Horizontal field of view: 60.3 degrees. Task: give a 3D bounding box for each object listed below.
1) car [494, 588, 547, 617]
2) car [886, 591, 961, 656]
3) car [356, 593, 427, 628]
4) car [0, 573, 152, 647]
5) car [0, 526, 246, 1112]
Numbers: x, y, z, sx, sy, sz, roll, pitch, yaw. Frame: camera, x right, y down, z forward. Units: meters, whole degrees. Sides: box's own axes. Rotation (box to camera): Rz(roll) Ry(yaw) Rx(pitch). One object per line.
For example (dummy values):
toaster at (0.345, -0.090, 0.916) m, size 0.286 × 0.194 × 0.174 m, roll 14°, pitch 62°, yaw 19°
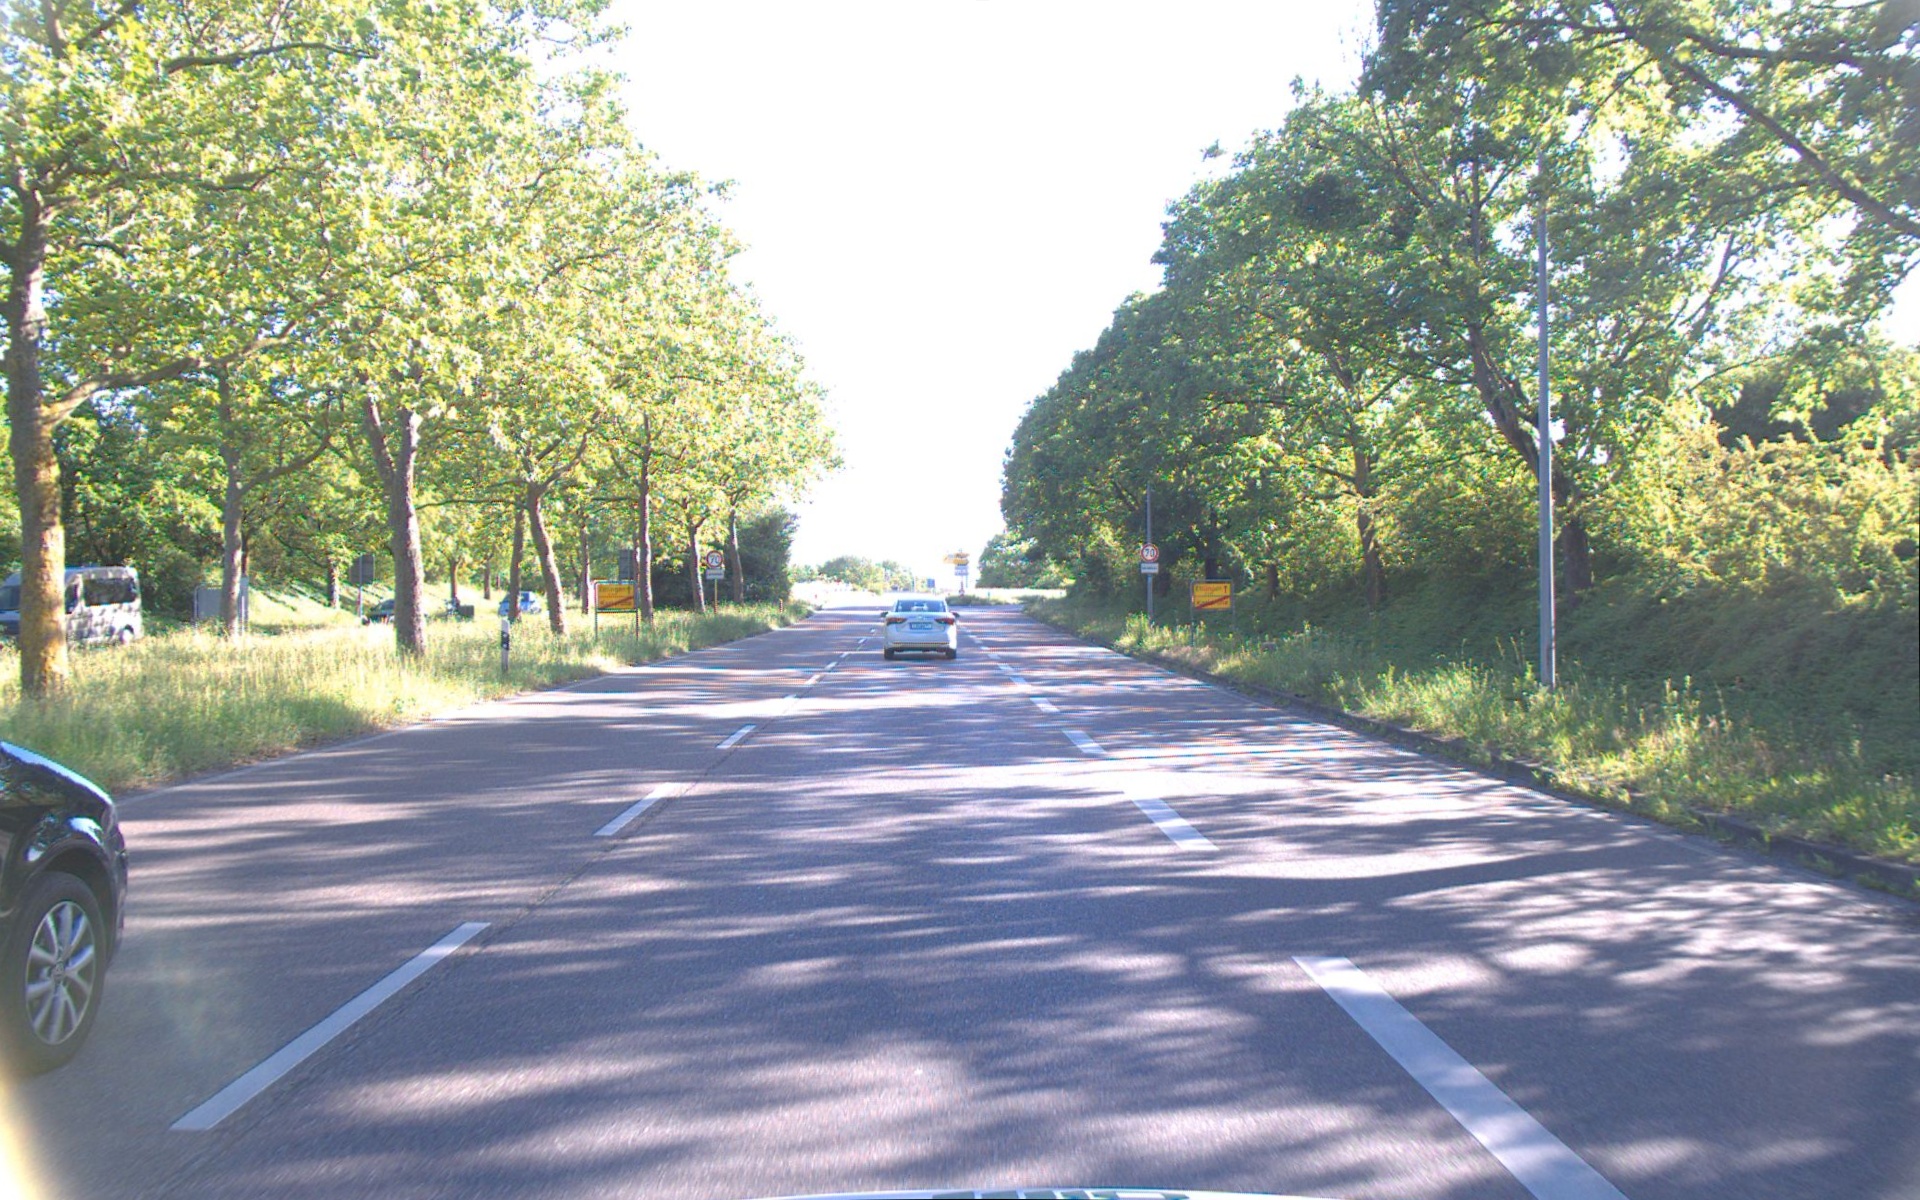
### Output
car at (-23.623, 0.114, 89.044) m, size 1.732 × 1.489 × 4.365 m, roll 0°, pitch 0°, yaw -1°
car at (-0.905, 0.544, 40.707) m, size 1.732 × 1.489 × 4.365 m, roll 0°, pitch 0°, yaw -1°
car at (-25.436, 0.439, 74.102) m, size 1.732 × 1.489 × 4.365 m, roll 0°, pitch 0°, yaw -1°
car at (-25.157, 0.236, 46.531) m, size 2.091 × 1.935 × 5.740 m, roll 0°, pitch 0°, yaw -1°
car at (-3.586, 0.616, 3.876) m, size 1.731 × 1.673 × 4.922 m, roll 1°, pitch 0°, yaw -1°
